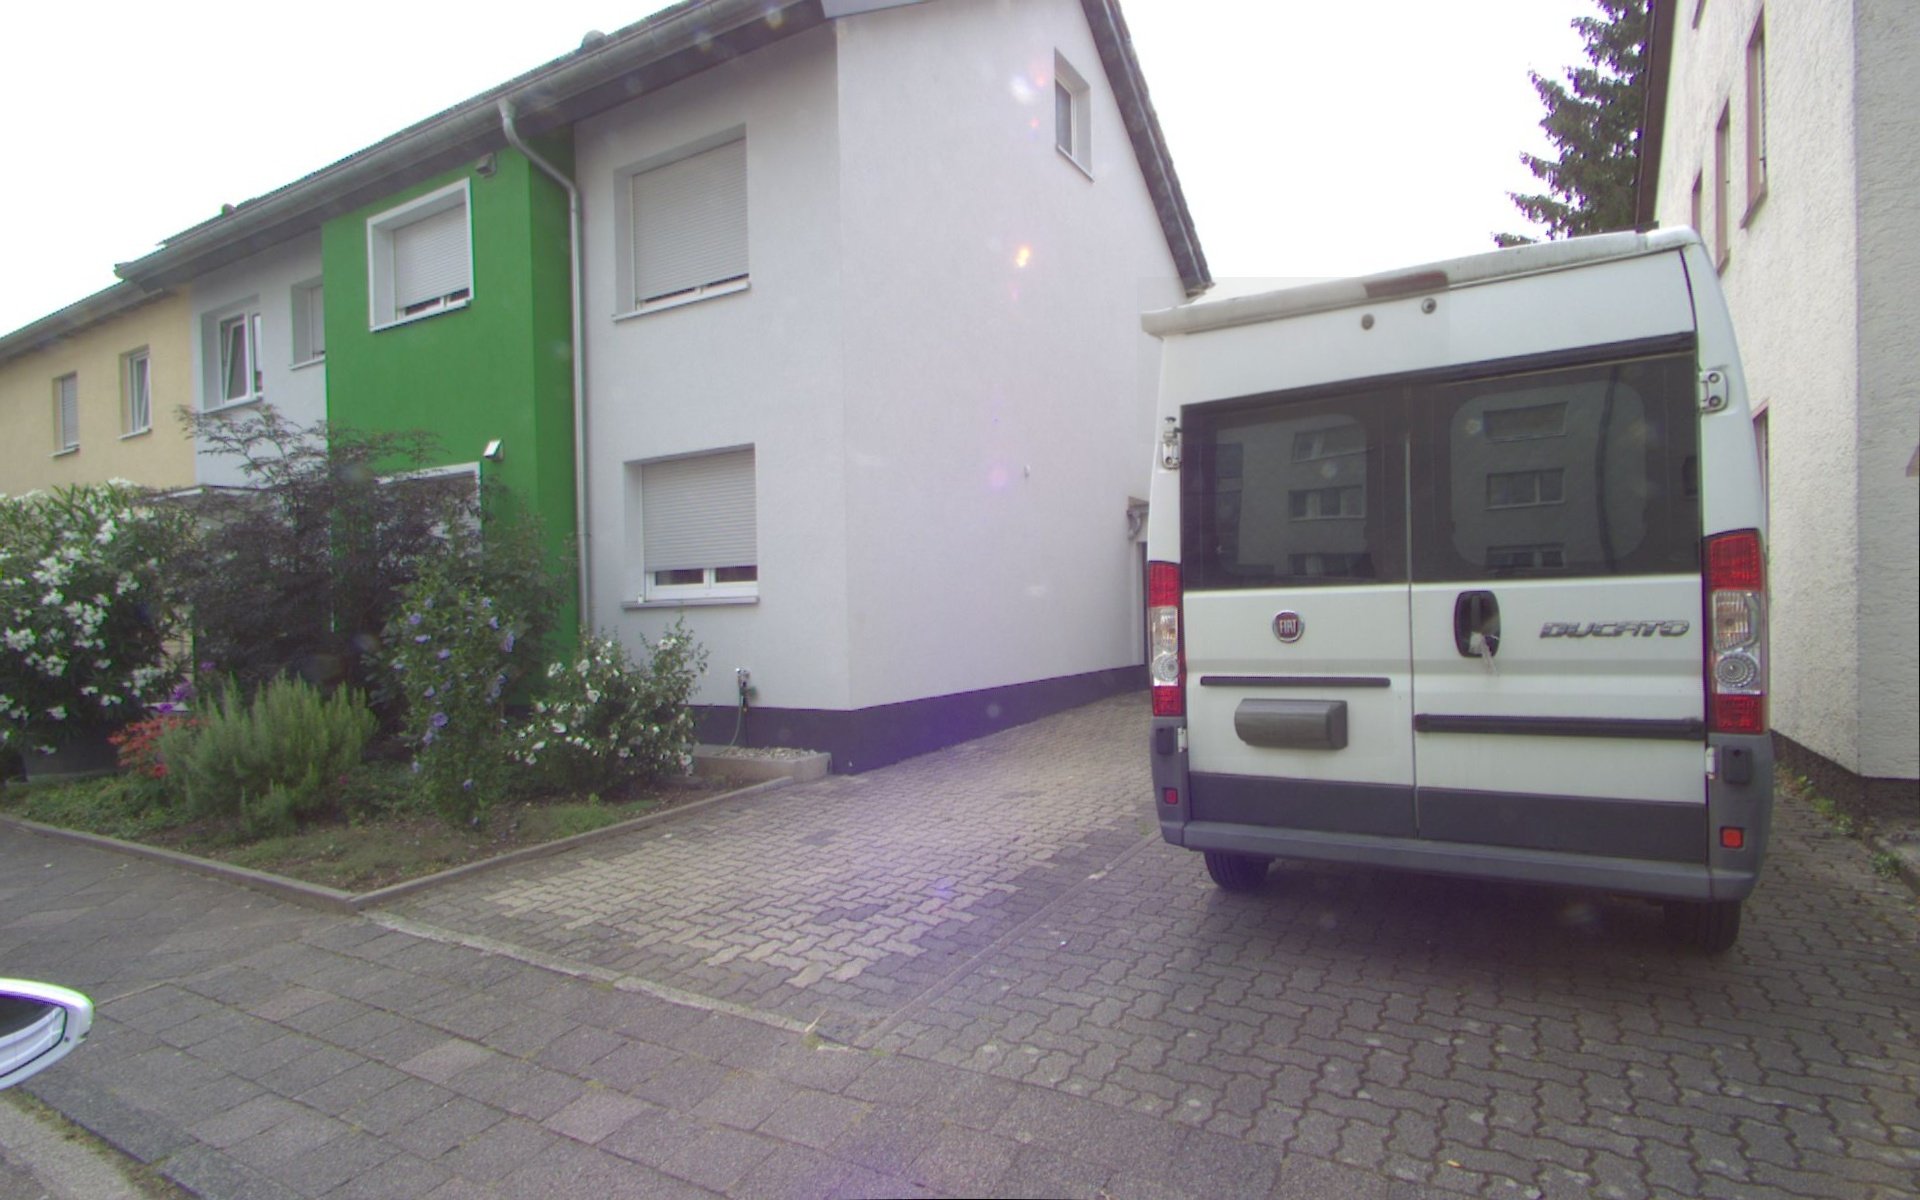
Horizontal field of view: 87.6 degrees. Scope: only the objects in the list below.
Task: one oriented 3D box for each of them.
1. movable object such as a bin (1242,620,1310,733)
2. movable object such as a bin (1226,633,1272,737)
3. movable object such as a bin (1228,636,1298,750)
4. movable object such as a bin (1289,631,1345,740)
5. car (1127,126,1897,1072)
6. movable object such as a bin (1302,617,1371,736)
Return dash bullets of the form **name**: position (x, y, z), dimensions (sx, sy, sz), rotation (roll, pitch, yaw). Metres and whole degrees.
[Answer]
- **movable object such as a bin**: position (3.096, 0.737, 9.804), dimensions (0.538, 1.046, 0.454), rotation (-1, 2, 30)
- **movable object such as a bin**: position (2.741, 0.796, 9.490), dimensions (0.333, 0.938, 0.354), rotation (-1, 2, 30)
- **movable object such as a bin**: position (2.687, 0.805, 8.878), dimensions (0.475, 0.938, 0.518), rotation (-1, 2, 30)
- **movable object such as a bin**: position (3.266, 0.770, 9.147), dimensions (0.396, 0.938, 0.448), rotation (-1, 2, 30)
- **car**: position (2.908, -0.024, 5.488), dimensions (2.205, 2.576, 5.077), rotation (-1, 1, 31)
- **movable object such as a bin**: position (3.583, 0.712, 9.522), dimensions (0.538, 1.071, 0.454), rotation (-1, 2, 30)
